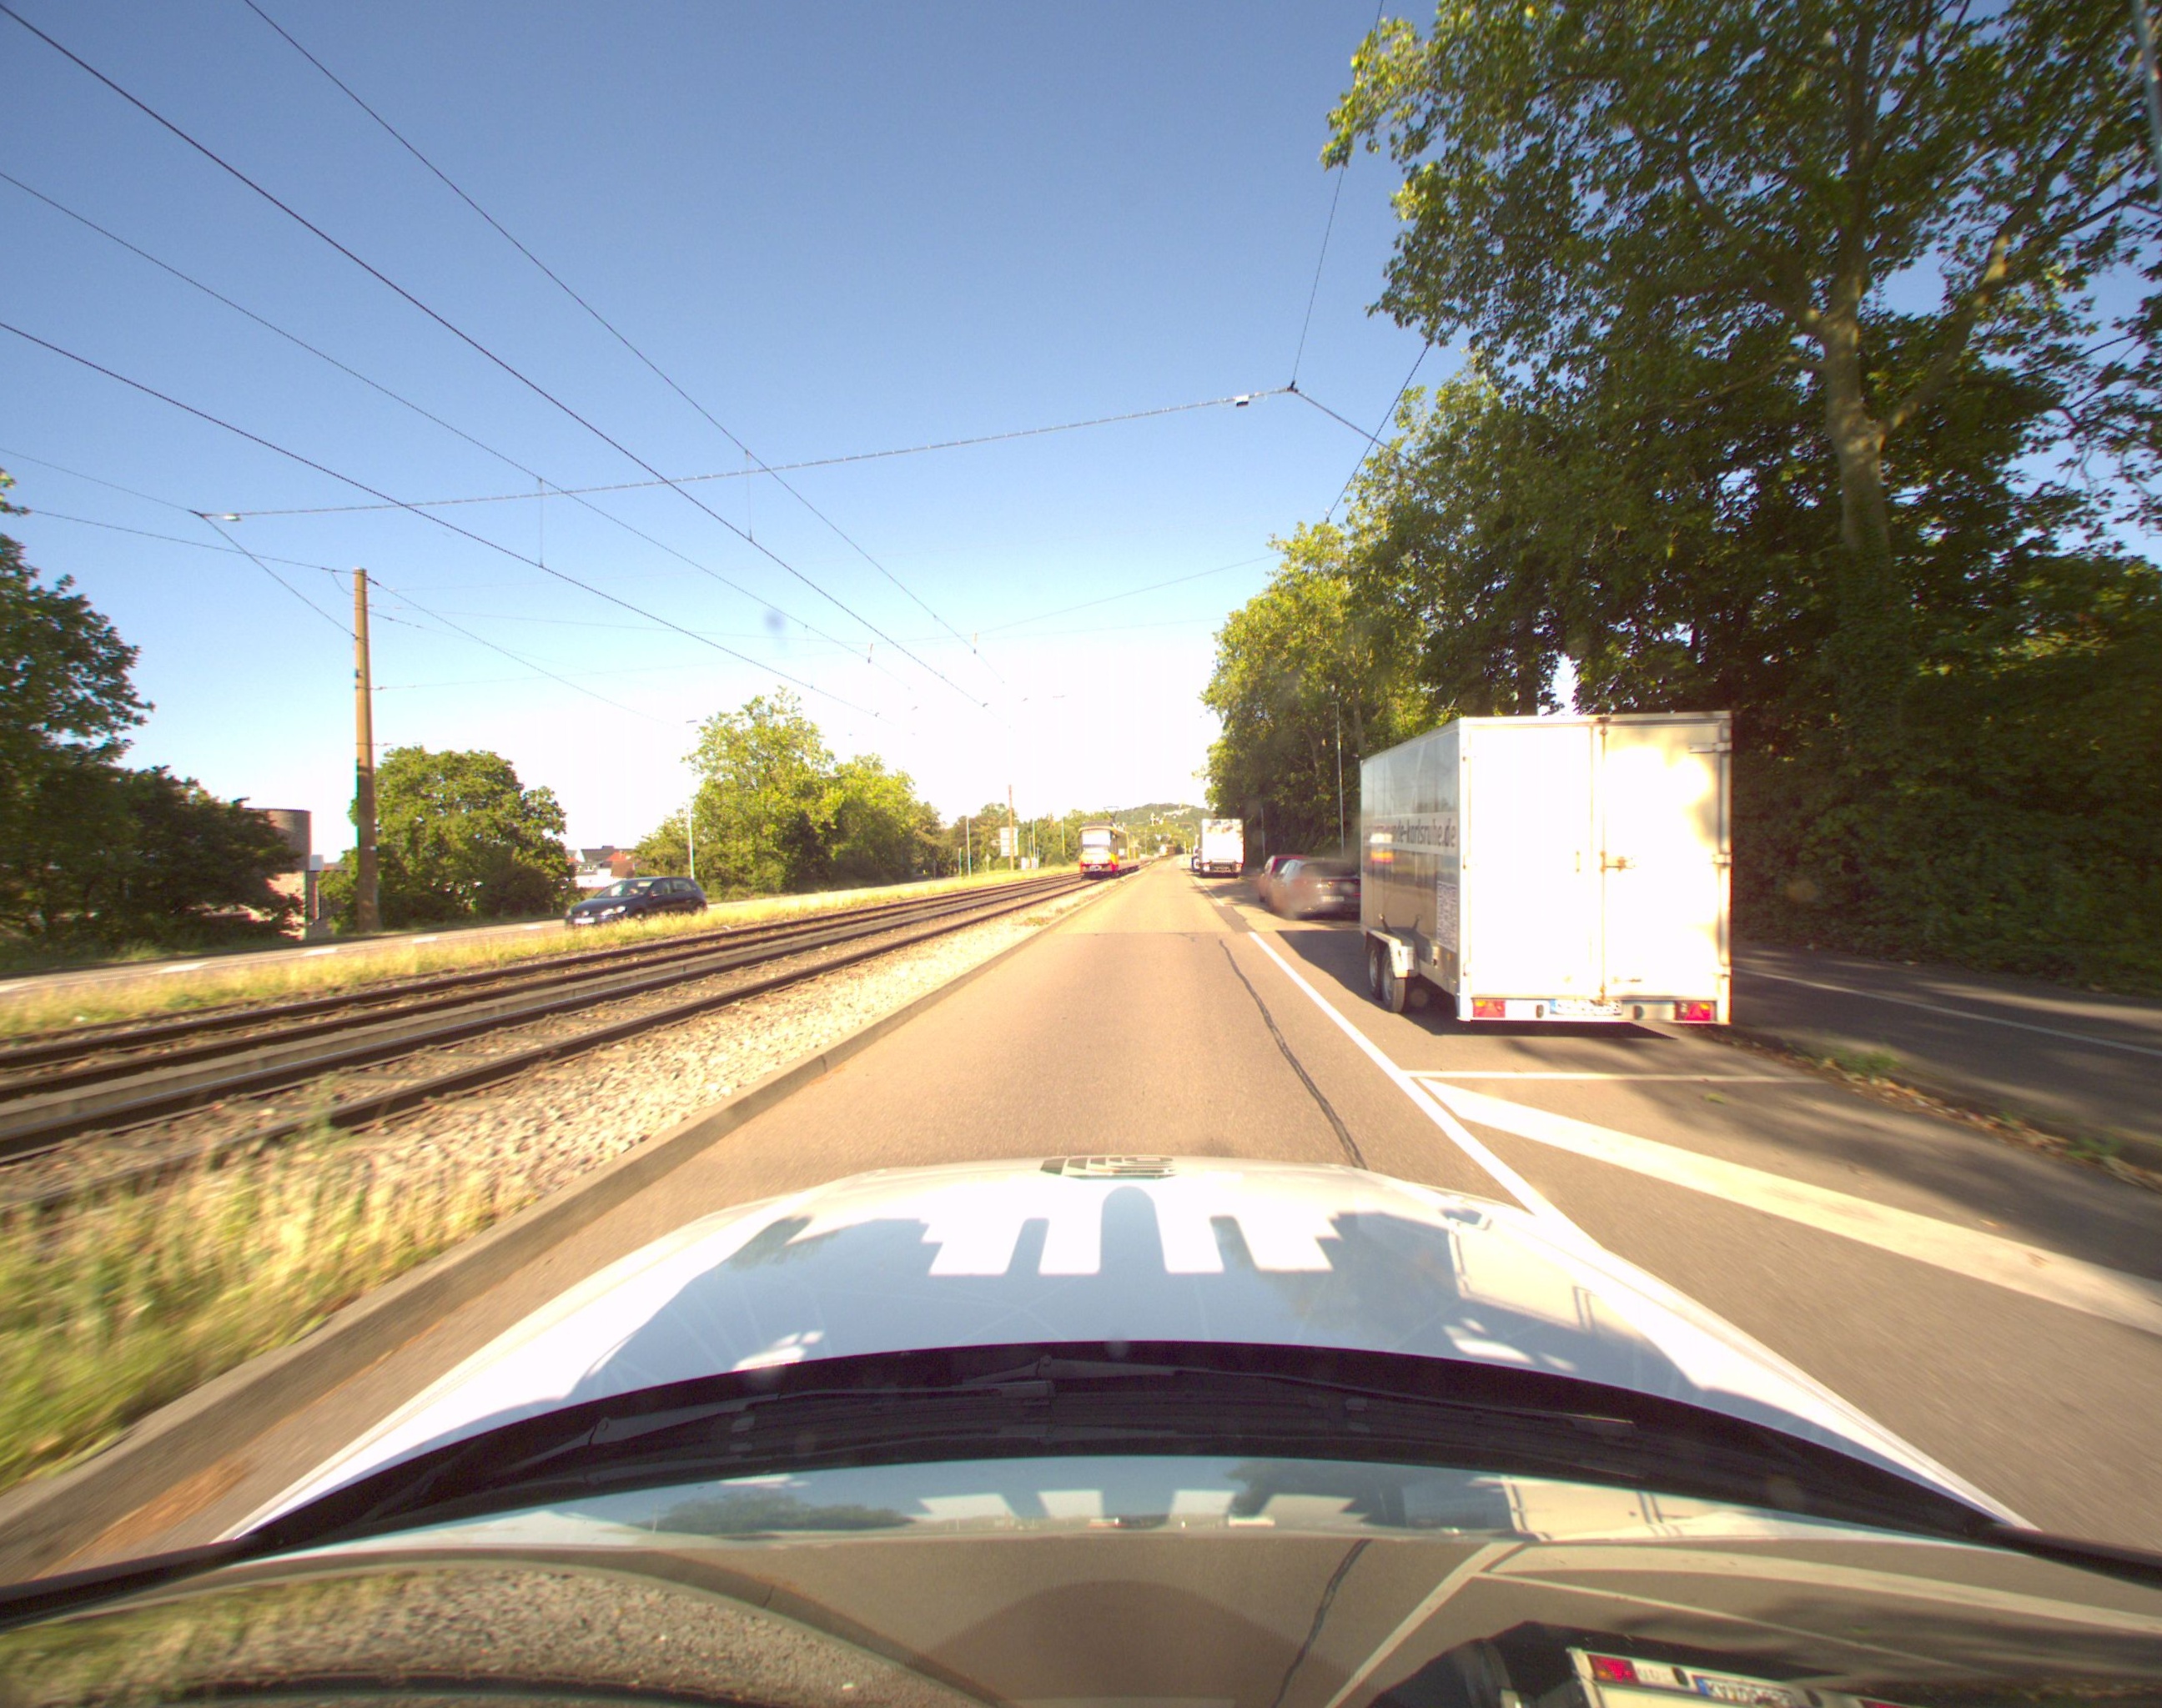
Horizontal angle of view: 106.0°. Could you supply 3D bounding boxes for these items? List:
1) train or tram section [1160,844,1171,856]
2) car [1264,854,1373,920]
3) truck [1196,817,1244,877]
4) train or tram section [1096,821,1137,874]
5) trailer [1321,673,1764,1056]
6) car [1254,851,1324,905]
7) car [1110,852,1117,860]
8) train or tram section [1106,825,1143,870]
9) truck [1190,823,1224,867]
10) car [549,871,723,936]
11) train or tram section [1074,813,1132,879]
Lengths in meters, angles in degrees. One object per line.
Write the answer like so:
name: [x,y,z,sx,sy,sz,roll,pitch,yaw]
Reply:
train or tram section: [26.252,-1.257,253.341,2.628,3.567,10.863,-2,0,10]
car: [5.646,0.722,19.884,1.800,1.457,4.172,0,0,5]
truck: [9.514,-0.436,56.624,2.728,3.783,10.107,0,0,6]
train or tram section: [3.198,-0.530,70.293,2.680,4.089,9.929,-3,0,7]
trailer: [4.167,0.094,8.844,2.237,2.694,5.963,-1,0,9]
car: [6.393,0.698,25.315,1.631,1.537,3.647,1,0,7]
car: [8.170,0.536,206.367,1.716,2.014,4.003,0,-1,3]
train or tram section: [4.534,-0.622,81.608,2.705,4.089,12.837,-3,0,7]
truck: [11.589,-0.772,75.675,2.703,3.783,9.778,0,0,6]
car: [-11.811,1.254,22.040,1.764,1.425,4.498,-2,0,7]
train or tram section: [1.803,-0.531,58.610,2.707,4.091,13.641,-3,0,7]
